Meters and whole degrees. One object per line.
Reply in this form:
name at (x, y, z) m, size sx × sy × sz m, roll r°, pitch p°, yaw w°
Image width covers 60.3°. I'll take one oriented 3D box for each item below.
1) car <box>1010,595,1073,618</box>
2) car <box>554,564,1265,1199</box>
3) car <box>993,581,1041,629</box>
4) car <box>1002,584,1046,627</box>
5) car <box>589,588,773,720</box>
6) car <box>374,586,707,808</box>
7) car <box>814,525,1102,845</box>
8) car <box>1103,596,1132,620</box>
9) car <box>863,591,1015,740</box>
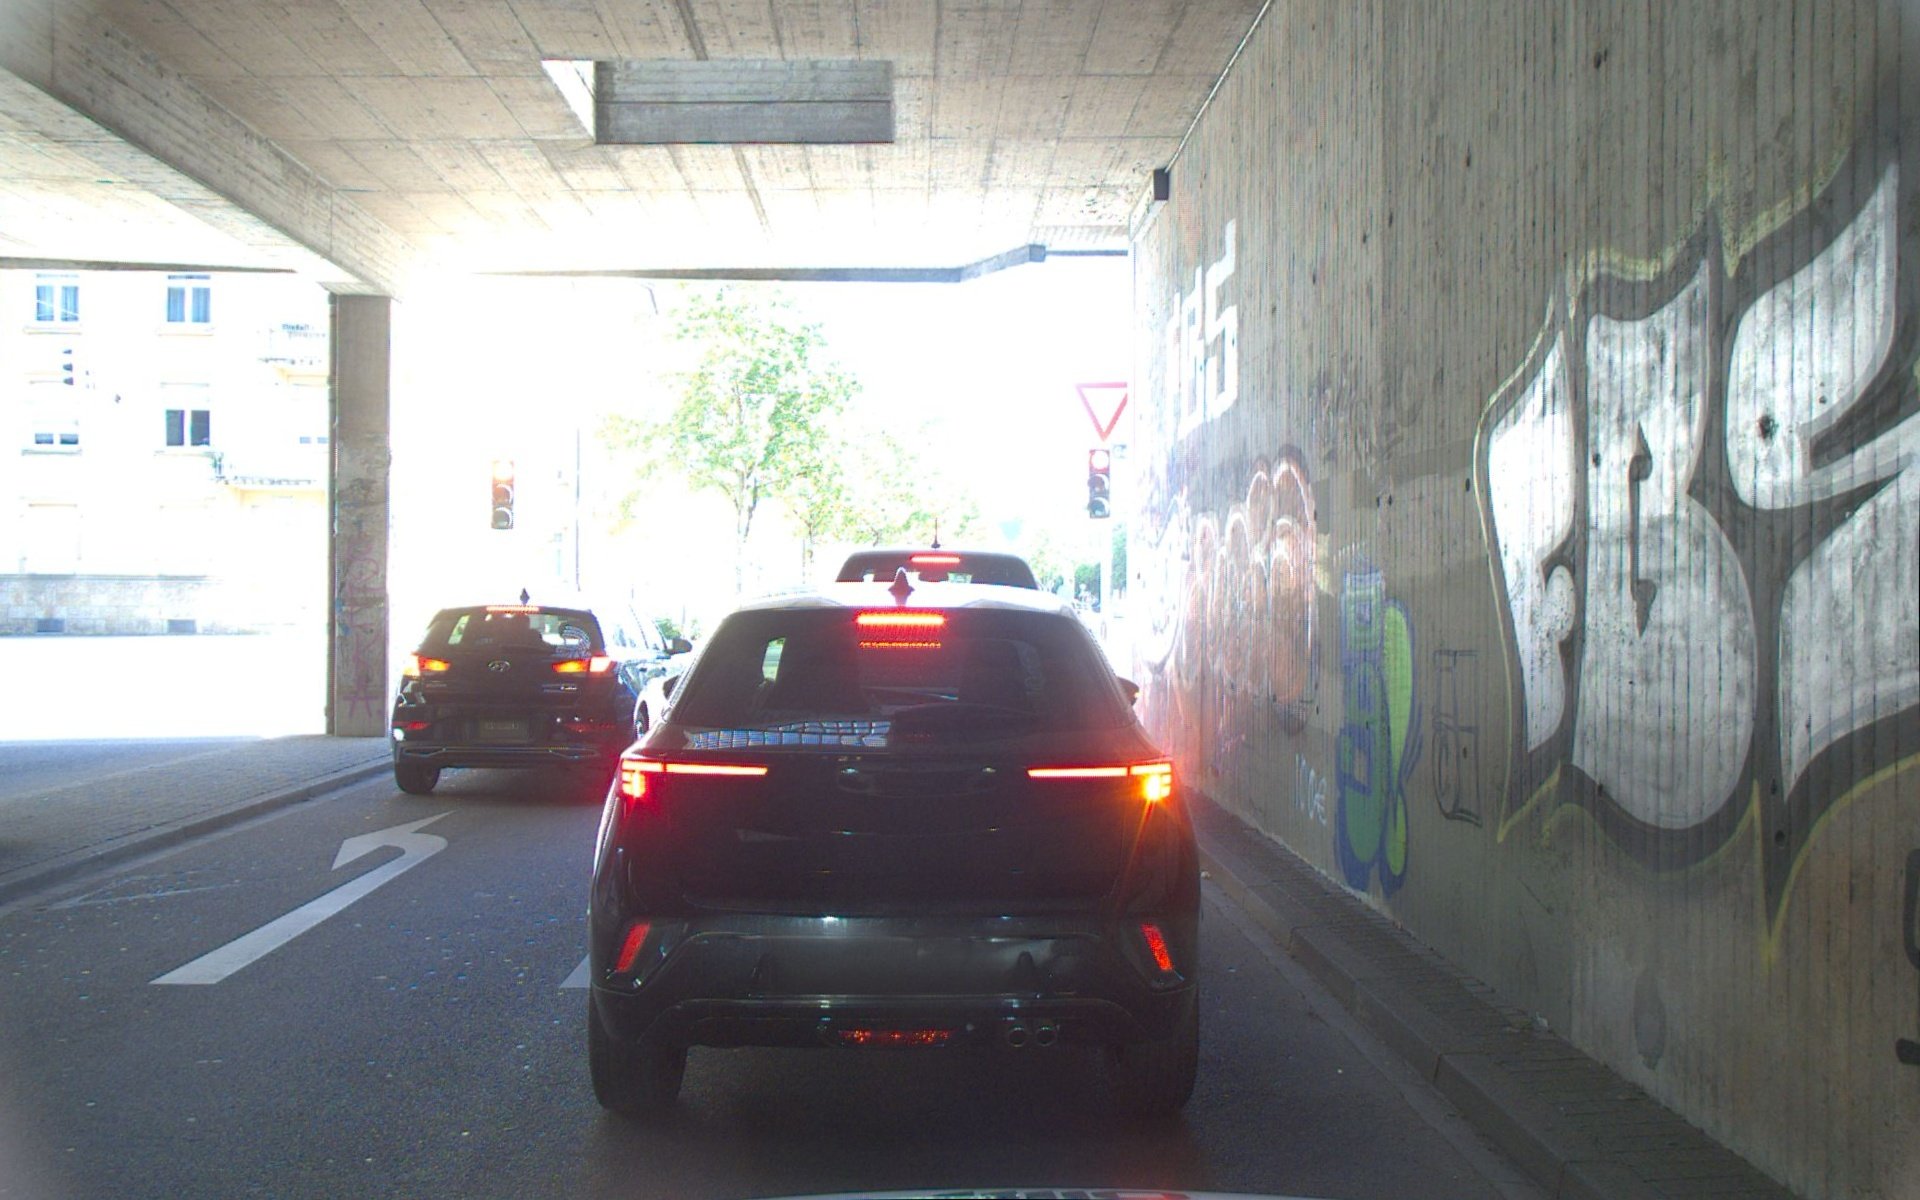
car at (6.594, 0.529, 133.866) m, size 4.732 × 1.696 × 1.812 m, roll 1°, pitch 0°, yaw -22°
car at (-0.147, 0.691, 6.086) m, size 1.726 × 1.558 × 4.088 m, roll 0°, pitch 0°, yaw -1°
car at (2.176, 0.192, 62.225) m, size 1.717 × 1.696 × 3.946 m, roll 1°, pitch 0°, yaw 3°
car at (2.665, 0.227, 68.351) m, size 1.717 × 1.696 × 3.946 m, roll 1°, pitch 0°, yaw 3°
car at (-3.427, 0.621, 20.950) m, size 1.726 × 1.506 × 3.843 m, roll 0°, pitch 0°, yaw -1°
car at (-3.157, 0.660, 13.229) m, size 1.726 × 1.506 × 3.843 m, roll 0°, pitch 0°, yaw -1°
car at (-0.040, 0.509, 12.031) m, size 1.726 × 1.915 × 4.145 m, roll 0°, pitch 0°, yaw -1°
car at (11.392, 0.606, 119.464) m, size 1.716 × 1.696 × 3.948 m, roll 1°, pitch 0°, yaw 10°
car at (-0.245, 0.676, 19.245) m, size 1.576 × 1.539 × 4.053 m, roll 0°, pitch 0°, yaw -1°
